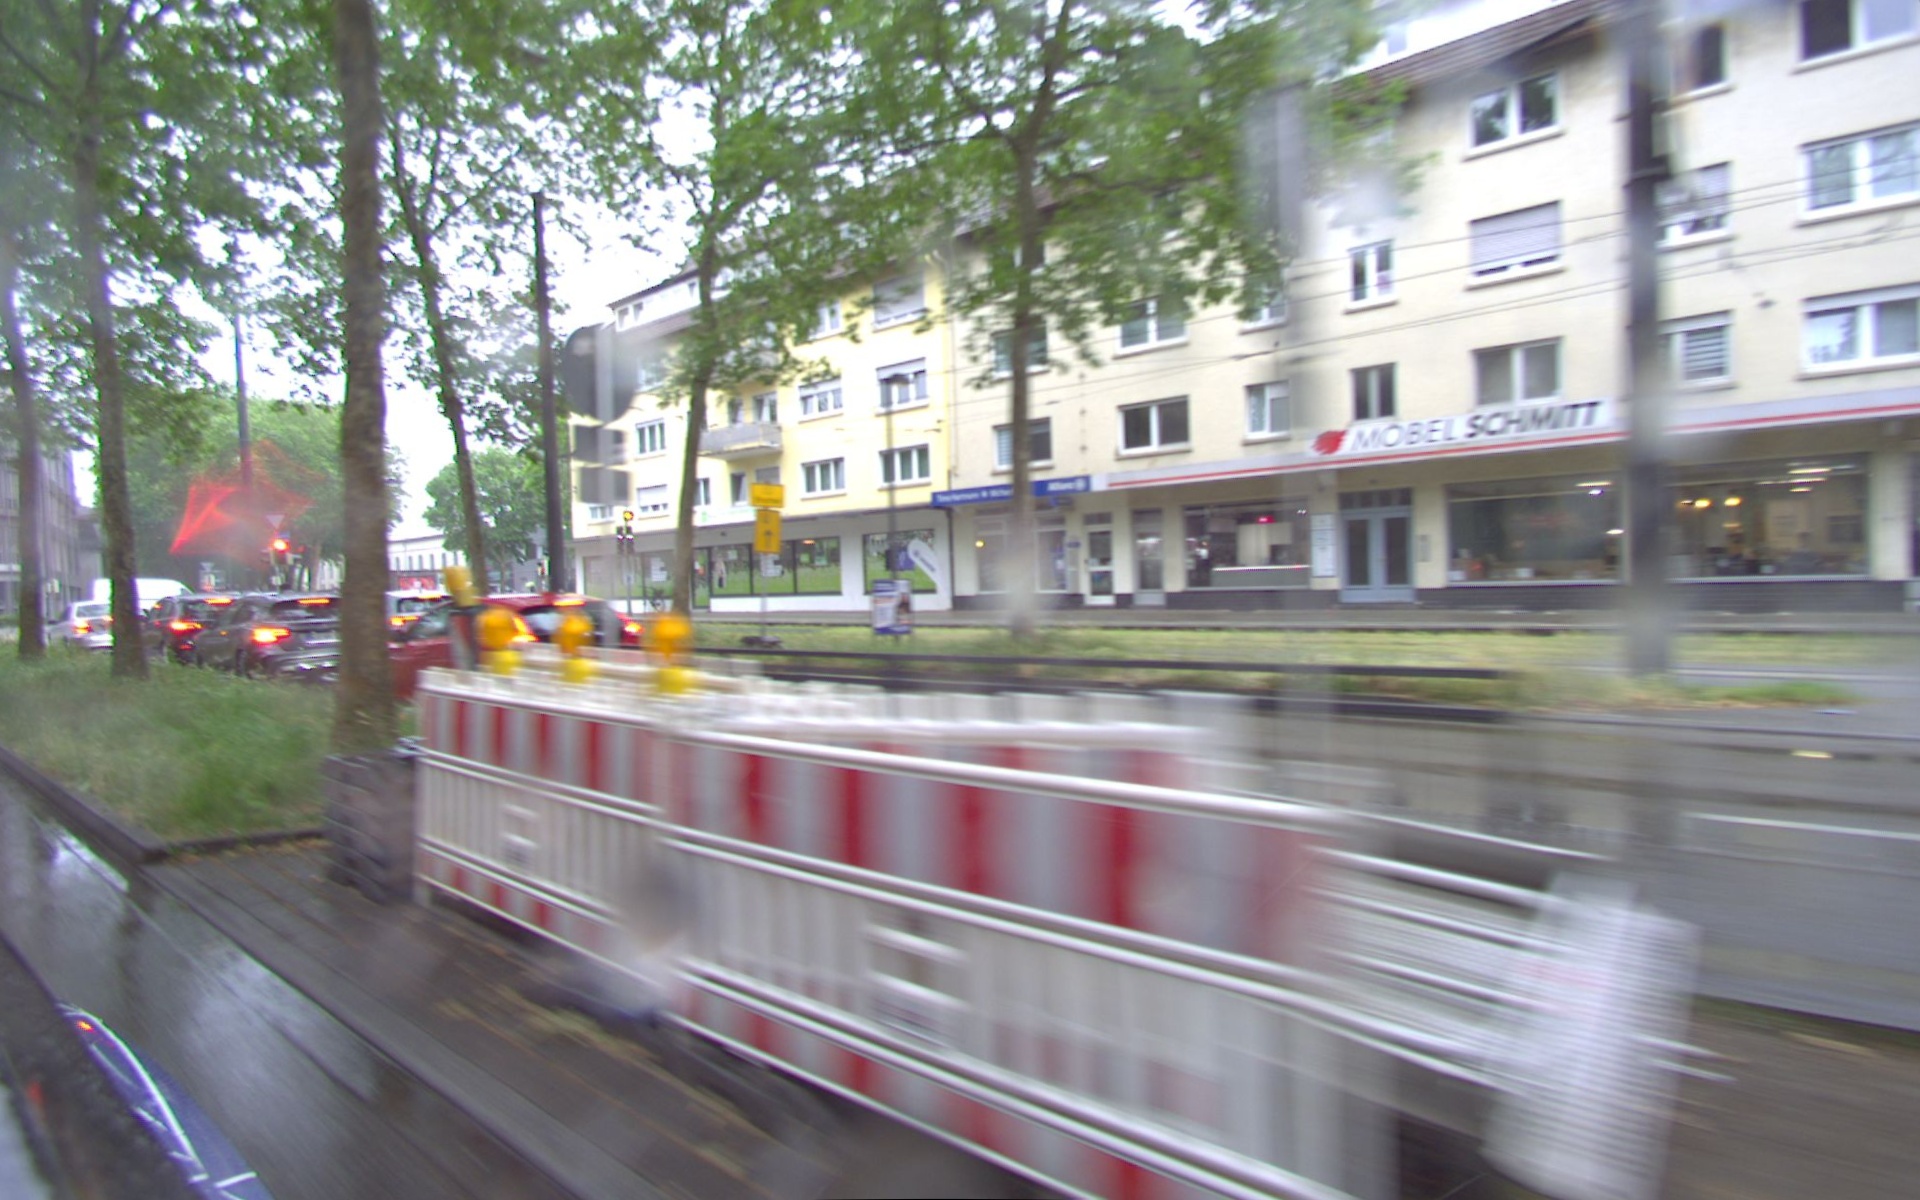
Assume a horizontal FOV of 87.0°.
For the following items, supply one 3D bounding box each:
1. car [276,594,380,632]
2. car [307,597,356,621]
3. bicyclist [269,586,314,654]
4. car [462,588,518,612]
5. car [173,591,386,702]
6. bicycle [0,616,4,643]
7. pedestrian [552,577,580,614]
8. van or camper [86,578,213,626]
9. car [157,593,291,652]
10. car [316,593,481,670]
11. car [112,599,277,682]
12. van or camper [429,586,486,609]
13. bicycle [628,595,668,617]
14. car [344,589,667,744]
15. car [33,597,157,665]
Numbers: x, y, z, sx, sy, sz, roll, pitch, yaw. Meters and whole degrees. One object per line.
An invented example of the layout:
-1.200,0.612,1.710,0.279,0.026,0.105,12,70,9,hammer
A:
-33.235,0.657,53.313,1.971,1.754,4.219,0,2,33,car
-47.060,0.632,75.837,1.778,1.599,4.083,-2,2,-11,car
-17.609,0.508,26.647,0.888,1.729,0.705,1,2,37,bicyclist
-42.864,-0.044,92.262,4.324,2.028,2.073,-2,2,-33,car
-11.063,0.682,16.326,4.429,1.491,1.723,-1,2,41,car
-39.161,1.244,39.894,0.816,1.096,1.977,-4,1,32,bicycle
-18.718,-0.209,48.074,1.000,1.690,0.816,-2,1,-37,pedestrian
-45.667,0.057,57.249,2.153,2.489,5.965,-1,2,3,van or camper
-21.062,0.625,28.918,4.276,1.513,1.857,-1,1,36,car
-11.950,0.627,21.448,4.128,1.408,1.723,-1,2,41,car
-16.302,0.800,21.457,4.637,1.496,1.837,-1,2,41,car
-48.670,-0.250,98.020,4.581,2.091,2.003,-1,1,-40,van or camper
-13.157,0.241,42.667,2.045,0.903,0.605,-1,1,42,bicycle
-5.329,0.651,11.605,4.230,1.408,1.723,-1,2,41,car
-22.054,0.760,25.749,4.498,1.500,1.717,-1,2,41,car
